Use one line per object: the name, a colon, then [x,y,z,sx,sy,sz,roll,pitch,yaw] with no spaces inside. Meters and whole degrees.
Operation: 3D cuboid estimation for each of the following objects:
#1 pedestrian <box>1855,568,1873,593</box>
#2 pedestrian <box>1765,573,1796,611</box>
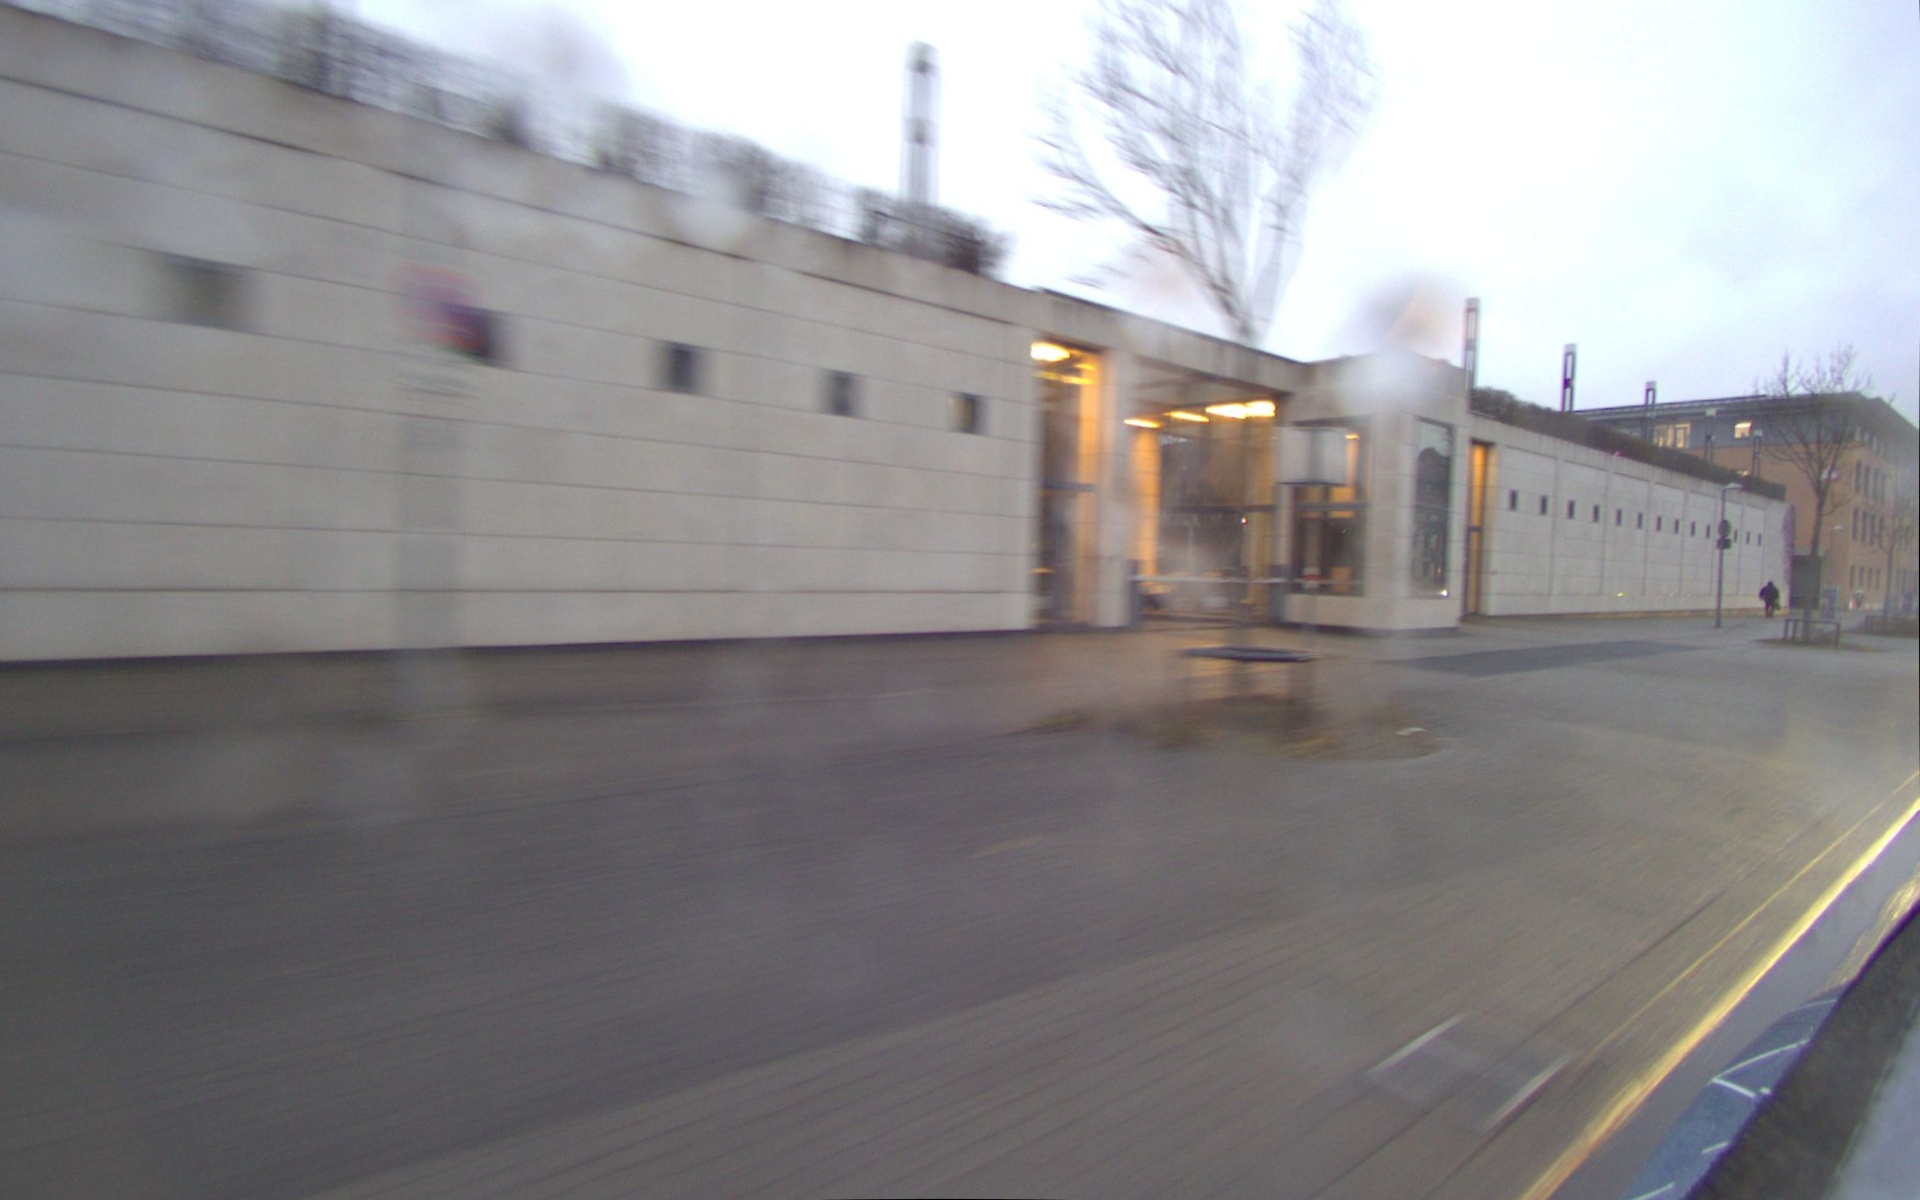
pedestrian: [60.426,-1.309,67.638,0.756,1.668,0.674,0,4,-41]
pedestrian: [36.856,-0.367,45.460,0.868,1.649,0.814,0,4,-41]
